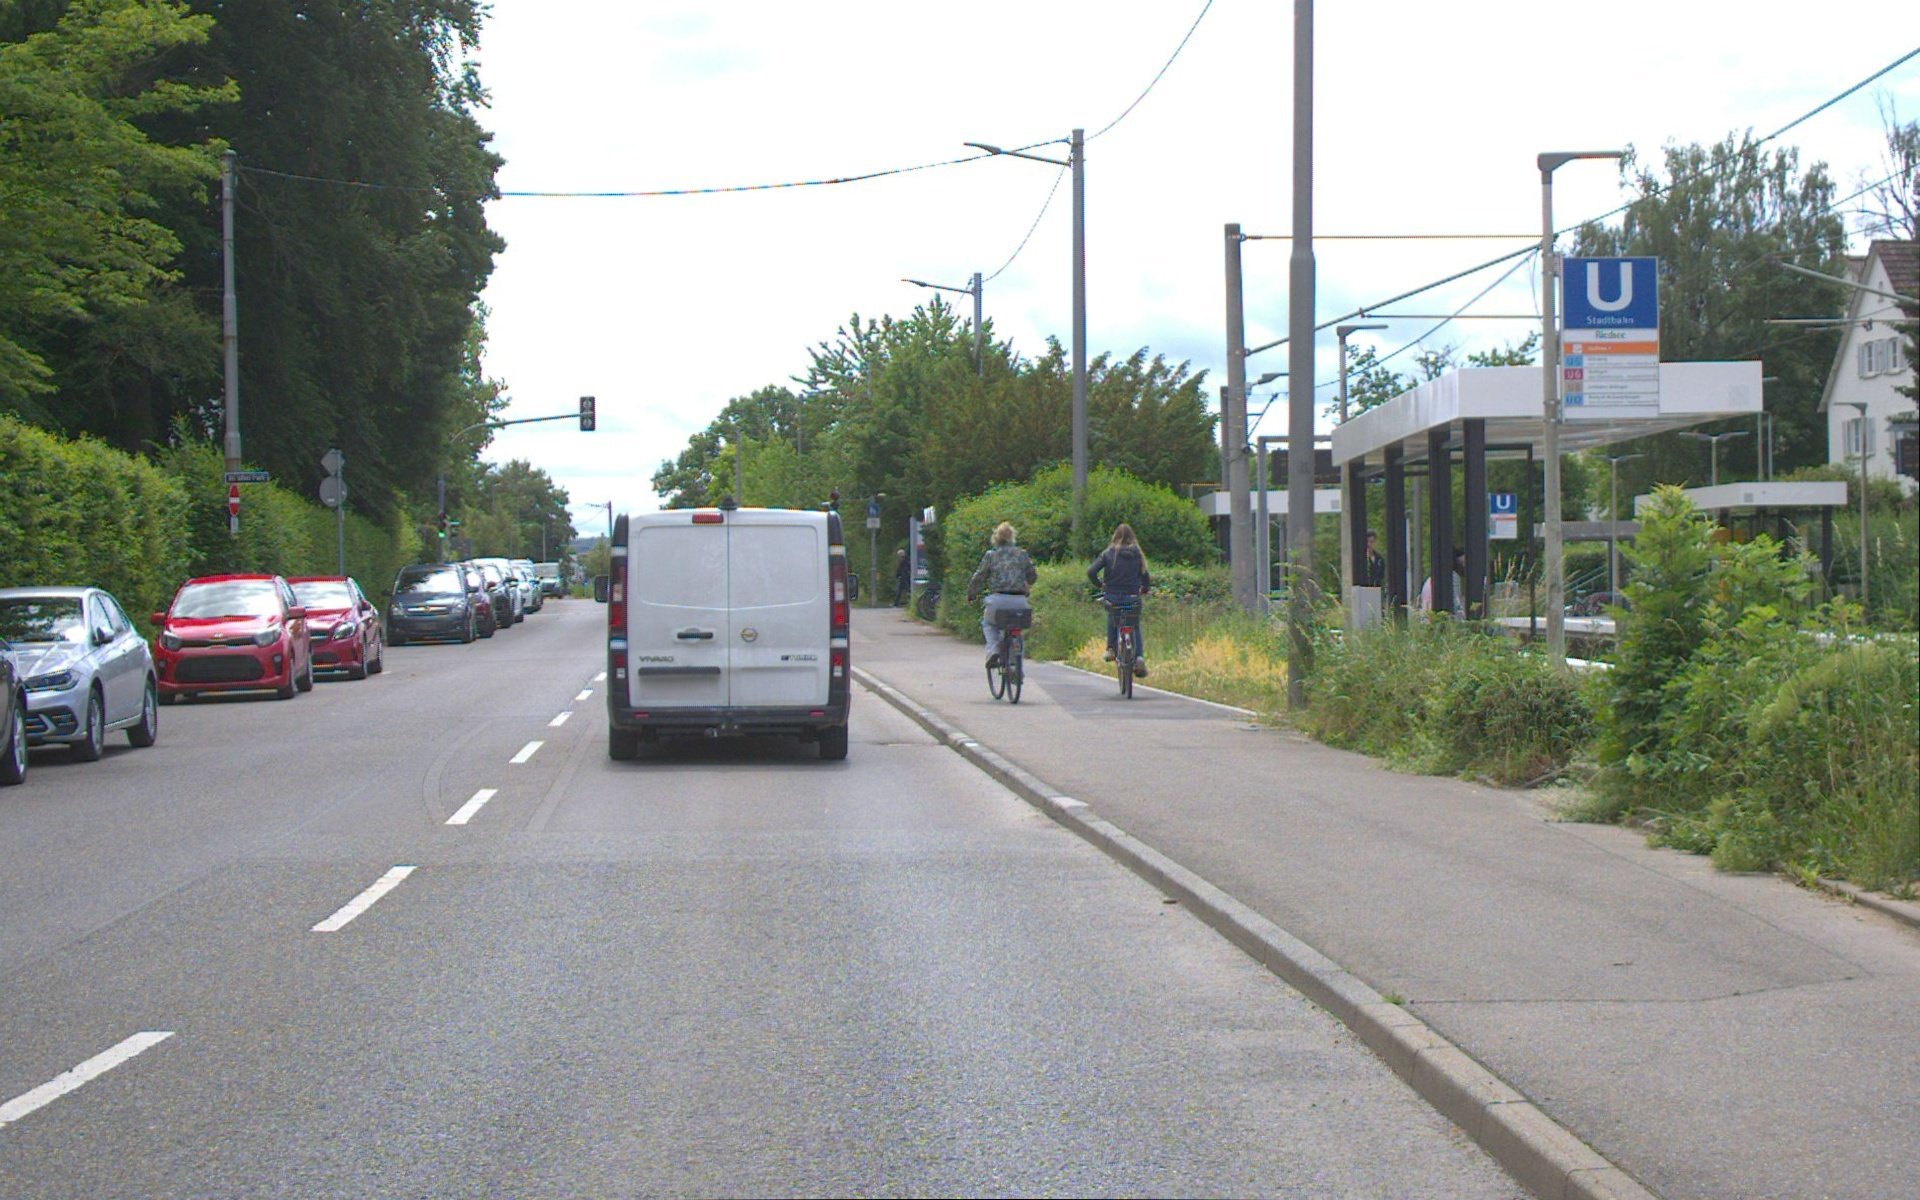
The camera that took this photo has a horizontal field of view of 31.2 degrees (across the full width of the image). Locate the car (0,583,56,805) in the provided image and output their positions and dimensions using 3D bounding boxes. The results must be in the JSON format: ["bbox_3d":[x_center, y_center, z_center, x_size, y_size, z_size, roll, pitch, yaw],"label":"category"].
[{"bbox_3d":[-7.429,0.682,23.274,1.736,1.499,4.478,-2,1,-5],"label":"car"}]

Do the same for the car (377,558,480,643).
[{"bbox_3d":[-10.757,-0.024,69.801,1.761,1.620,4.186,-2,1,-5],"label":"car"}]

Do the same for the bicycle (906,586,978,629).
[{"bbox_3d":[-0.434,0.168,83.054,1.698,1.027,0.491,0,1,-5],"label":"bicycle"}]

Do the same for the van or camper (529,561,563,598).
[{"bbox_3d":[-25.407,-1.267,211.124,2.004,2.254,4.613,0,1,-6],"label":"van or camper"}]

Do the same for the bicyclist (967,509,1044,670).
[{"bbox_3d":[0.458,-0.110,34.829,0.717,1.606,0.758,0,1,-4],"label":"bicyclist"}]

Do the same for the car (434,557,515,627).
[{"bbox_3d":[-12.118,-0.212,85.968,1.761,1.651,3.816,-2,1,-5],"label":"car"}]

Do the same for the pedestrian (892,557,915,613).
[{"bbox_3d":[-1.722,-0.470,104.645,0.674,1.690,0.522,0,1,1],"label":"pedestrian"}]

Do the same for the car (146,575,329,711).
[{"bbox_3d":[-8.670,0.480,41.481,1.588,1.500,3.515,-2,1,-3],"label":"car"}]

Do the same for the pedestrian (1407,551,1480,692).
[{"bbox_3d":[4.765,0.201,33.928,0.582,1.375,0.740,0,1,-3],"label":"pedestrian"}]

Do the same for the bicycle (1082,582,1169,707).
[{"bbox_3d":[1.721,0.443,36.039,0.618,1.242,2.396,0,1,-4],"label":"bicycle"}]

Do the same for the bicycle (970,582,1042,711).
[{"bbox_3d":[0.458,0.450,34.868,0.546,1.242,2.055,0,1,-4],"label":"bicycle"}]

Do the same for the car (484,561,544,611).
[{"bbox_3d":[-14.523,-0.472,112.009,1.761,1.551,3.816,-2,1,-5],"label":"car"}]

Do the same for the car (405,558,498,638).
[{"bbox_3d":[-11.160,-0.069,75.672,1.761,1.651,4.062,-2,1,-5],"label":"car"}]

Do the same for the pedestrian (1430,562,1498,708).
[{"bbox_3d":[4.666,0.319,31.817,0.486,1.339,0.396,-1,1,-32],"label":"pedestrian"}]

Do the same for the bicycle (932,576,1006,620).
[{"bbox_3d":[0.202,-0.059,80.961,1.698,1.027,0.491,0,1,-5],"label":"bicycle"}]

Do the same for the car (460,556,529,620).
[{"bbox_3d":[-13.315,-0.373,98.492,1.761,1.750,3.816,-2,1,-5],"label":"car"}]

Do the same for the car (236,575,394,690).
[{"bbox_3d":[-9.033,0.420,48.418,1.761,1.466,4.186,-2,1,-5],"label":"car"}]

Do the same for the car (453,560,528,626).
[{"bbox_3d":[-12.480,-0.200,91.560,1.761,1.651,3.816,-2,1,-5],"label":"car"}]

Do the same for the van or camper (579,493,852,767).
[{"bbox_3d":[-1.953,0.216,27.723,1.993,2.007,4.446,1,0,-4],"label":"van or camper"}]

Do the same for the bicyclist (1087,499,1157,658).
[{"bbox_3d":[1.696,-0.227,36.033,0.639,1.644,0.819,0,1,-4],"label":"bicyclist"}]

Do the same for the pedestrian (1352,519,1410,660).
[{"bbox_3d":[5.186,-0.131,42.348,0.638,1.719,0.654,0,1,13],"label":"pedestrian"}]

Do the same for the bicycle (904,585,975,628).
[{"bbox_3d":[-0.505,0.161,83.630,1.698,1.027,0.491,0,1,-5],"label":"bicycle"}]

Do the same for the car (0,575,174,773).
[{"bbox_3d":[-7.832,0.584,28.760,1.736,1.499,3.963,-2,1,-3],"label":"car"}]
